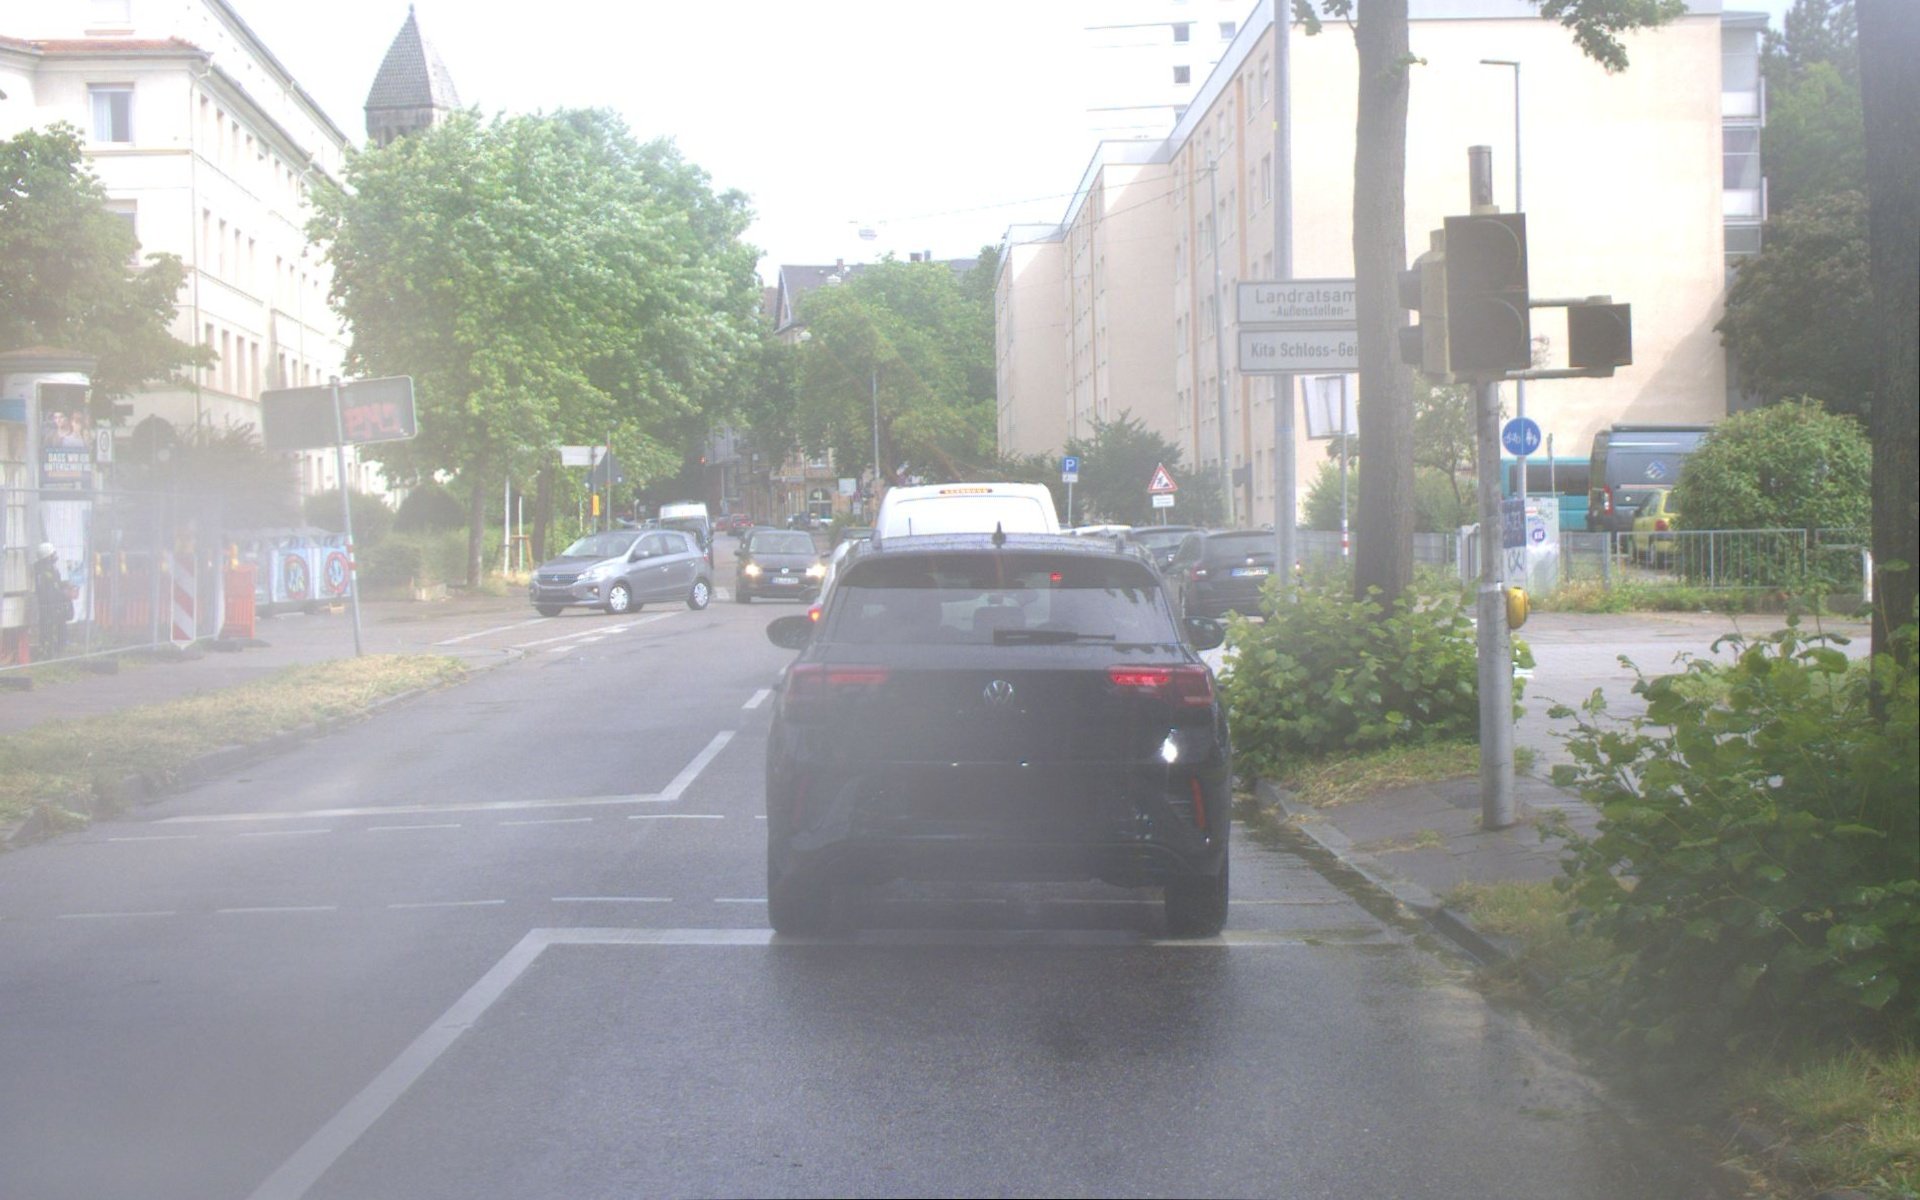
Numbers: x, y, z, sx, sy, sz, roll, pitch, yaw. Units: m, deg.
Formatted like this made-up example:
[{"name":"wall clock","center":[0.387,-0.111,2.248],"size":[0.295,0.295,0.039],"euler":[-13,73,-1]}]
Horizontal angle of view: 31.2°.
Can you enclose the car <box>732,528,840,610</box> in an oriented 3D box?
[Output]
[{"name":"car","center":[-3.374,-0.608,67.211],"size":[1.813,1.535,3.982],"euler":[0,1,1]}]

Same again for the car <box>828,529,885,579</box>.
[{"name":"car","center":[-3.550,-1.609,118.727],"size":[1.740,1.602,3.675],"euler":[-3,1,1]}]

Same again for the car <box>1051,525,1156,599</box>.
[{"name":"car","center":[3.003,-0.827,72.901],"size":[1.748,1.503,4.113],"euler":[-1,1,-4]}]

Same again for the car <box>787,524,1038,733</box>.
[{"name":"car","center":[-0.363,0.186,27.054],"size":[1.813,1.498,4.000],"euler":[1,1,0]}]

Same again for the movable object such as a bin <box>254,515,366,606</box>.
[{"name":"movable object such as a bin","center":[-12.456,-0.760,65.935],"size":[1.539,1.656,1.457],"euler":[-1,2,19]}]

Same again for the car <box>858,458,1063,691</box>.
[{"name":"car","center":[0.051,-0.248,33.300],"size":[1.836,2.095,4.000],"euler":[1,1,1]}]

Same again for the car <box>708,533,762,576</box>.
[{"name":"car","center":[-9.124,-1.851,139.628],"size":[1.841,1.602,4.000],"euler":[-3,1,1]}]

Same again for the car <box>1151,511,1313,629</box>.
[{"name":"car","center":[3.909,-0.479,50.063],"size":[1.774,1.534,4.379],"euler":[-3,2,-2]}]

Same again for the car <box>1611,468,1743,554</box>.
[{"name":"car","center":[12.848,-1.595,61.746],"size":[1.610,1.444,3.417],"euler":[-2,1,0]}]

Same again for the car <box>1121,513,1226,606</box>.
[{"name":"car","center":[3.806,-0.703,61.595],"size":[1.757,1.522,3.999],"euler":[2,-1,3]}]

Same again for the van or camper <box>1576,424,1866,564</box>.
[{"name":"van or camper","center":[14.400,-1.989,65.285],"size":[4.998,2.545,2.175],"euler":[-1,0,1]}]

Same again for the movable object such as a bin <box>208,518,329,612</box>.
[{"name":"movable object such as a bin","center":[-12.949,-0.667,64.419],"size":[1.539,1.668,1.664],"euler":[-1,2,19]}]

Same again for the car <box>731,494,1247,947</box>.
[{"name":"car","center":[0.082,0.418,14.640],"size":[1.873,1.640,4.062],"euler":[1,1,-1]}]

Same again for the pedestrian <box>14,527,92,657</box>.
[{"name":"pedestrian","center":[-11.457,-0.108,43.431],"size":[0.721,1.624,0.684],"euler":[0,1,-38]}]

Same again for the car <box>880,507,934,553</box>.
[{"name":"car","center":[-1.960,-2.613,128.089],"size":[1.841,1.602,3.675],"euler":[-3,1,1]}]

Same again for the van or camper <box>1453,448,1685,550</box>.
[{"name":"van or camper","center":[13.357,-2.230,75.687],"size":[4.760,2.124,2.321],"euler":[-1,2,3]}]

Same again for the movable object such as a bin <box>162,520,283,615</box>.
[{"name":"movable object such as a bin","center":[-13.471,-0.595,62.856],"size":[1.539,1.650,1.526],"euler":[-1,2,19]}]

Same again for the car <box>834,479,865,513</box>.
[{"name":"car","center":[-6.190,-5.833,192.247],"size":[1.665,1.831,4.001],"euler":[-2,2,-3]}]

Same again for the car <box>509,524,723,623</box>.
[{"name":"car","center":[-6.000,-0.461,60.312],"size":[1.892,1.631,3.994],"euler":[-2,0,26]}]

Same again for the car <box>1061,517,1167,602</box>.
[{"name":"car","center":[2.975,-0.795,66.982],"size":[1.604,1.503,4.160],"euler":[-3,1,-3]}]

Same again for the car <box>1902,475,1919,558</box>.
[{"name":"car","center":[18.077,-1.511,61.252],"size":[1.649,1.481,3.718],"euler":[-2,1,2]}]
